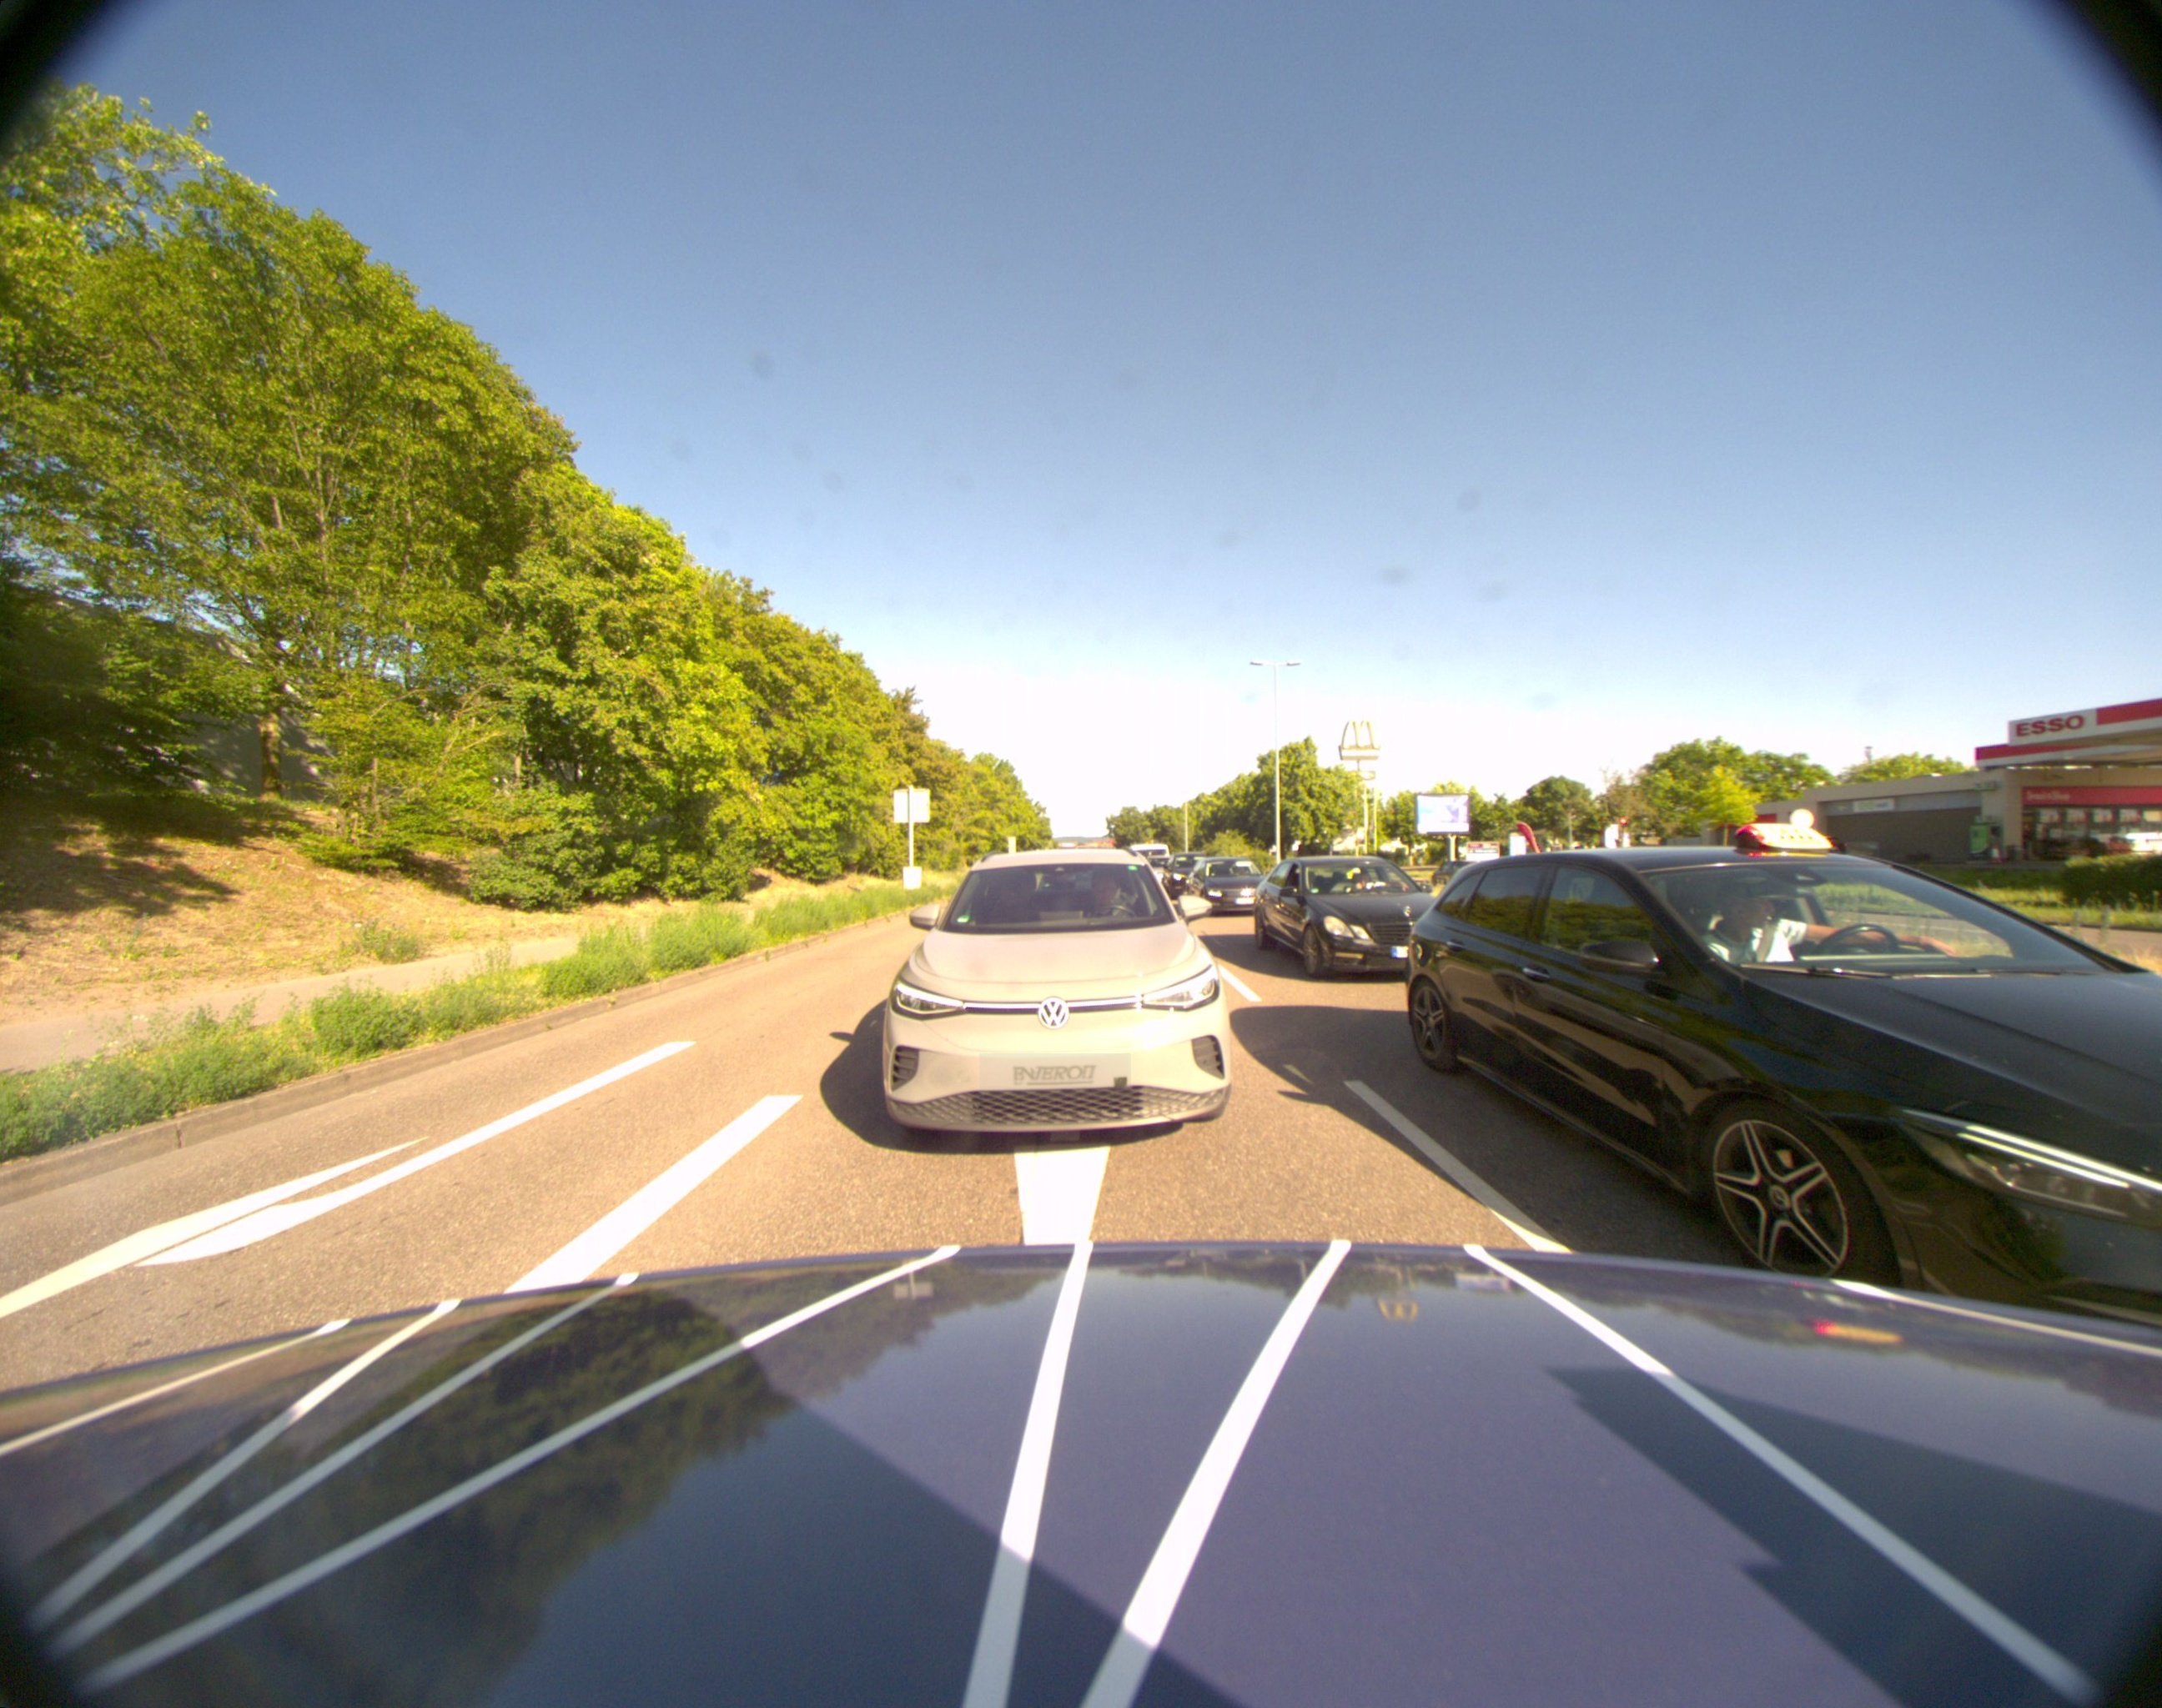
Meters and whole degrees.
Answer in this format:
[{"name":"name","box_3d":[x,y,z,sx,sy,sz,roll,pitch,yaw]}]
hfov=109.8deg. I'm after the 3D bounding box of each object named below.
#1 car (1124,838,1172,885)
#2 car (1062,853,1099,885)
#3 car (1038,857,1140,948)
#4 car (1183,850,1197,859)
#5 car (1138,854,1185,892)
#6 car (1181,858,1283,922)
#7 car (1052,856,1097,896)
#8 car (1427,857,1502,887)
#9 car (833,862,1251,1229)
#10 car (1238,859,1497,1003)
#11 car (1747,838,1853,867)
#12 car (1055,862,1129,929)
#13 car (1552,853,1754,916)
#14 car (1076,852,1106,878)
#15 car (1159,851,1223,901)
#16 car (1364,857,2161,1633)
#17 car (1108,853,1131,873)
[{"name":"car","box_3d":[3.643,0.390,42.448,2.019,2.349,6.523,-2,0,0]},{"name":"car","box_3d":[-0.051,0.718,39.850,1.763,1.482,4.402,-2,1,0]},{"name":"car","box_3d":[0.131,0.876,15.754,1.763,1.482,4.402,-2,1,0]},{"name":"car","box_3d":[18.635,0.076,130.455,1.763,1.401,3.978,1,1,0]},{"name":"car","box_3d":[3.566,0.796,34.160,1.635,1.547,3.777,-2,0,0]},{"name":"car","box_3d":[3.868,0.865,20.211,1.797,1.419,4.287,-2,0,0]},{"name":"car","box_3d":[-0.264,0.886,33.028,1.763,1.482,4.402,-2,1,0]},{"name":"car","box_3d":[19.570,0.886,38.987,1.763,1.401,3.978,1,1,0]},{"name":"car","box_3d":[-0.184,0.903,5.697,1.862,1.573,4.403,-2,0,0]},{"name":"car","box_3d":[3.585,0.855,10.495,1.868,1.430,4.402,-2,1,0]},{"name":"car","box_3d":[37.396,-0.075,39.653,1.682,1.401,3.978,1,1,0]},{"name":"car","box_3d":[0.260,1.043,20.922,1.763,1.482,4.402,-2,1,0]},{"name":"car","box_3d":[15.808,0.762,21.420,1.764,1.482,4.878,2,1,-3]},{"name":"car","box_3d":[0.621,0.680,48.382,1.763,1.482,4.402,-2,1,0]},{"name":"car","box_3d":[3.898,0.743,27.529,1.674,1.607,3.879,-2,0,0]},{"name":"car","box_3d":[3.088,0.822,3.648,1.763,1.482,4.402,-2,1,0]},{"name":"car","box_3d":[3.437,0.763,68.649,1.763,1.607,4.402,-2,1,0]}]
